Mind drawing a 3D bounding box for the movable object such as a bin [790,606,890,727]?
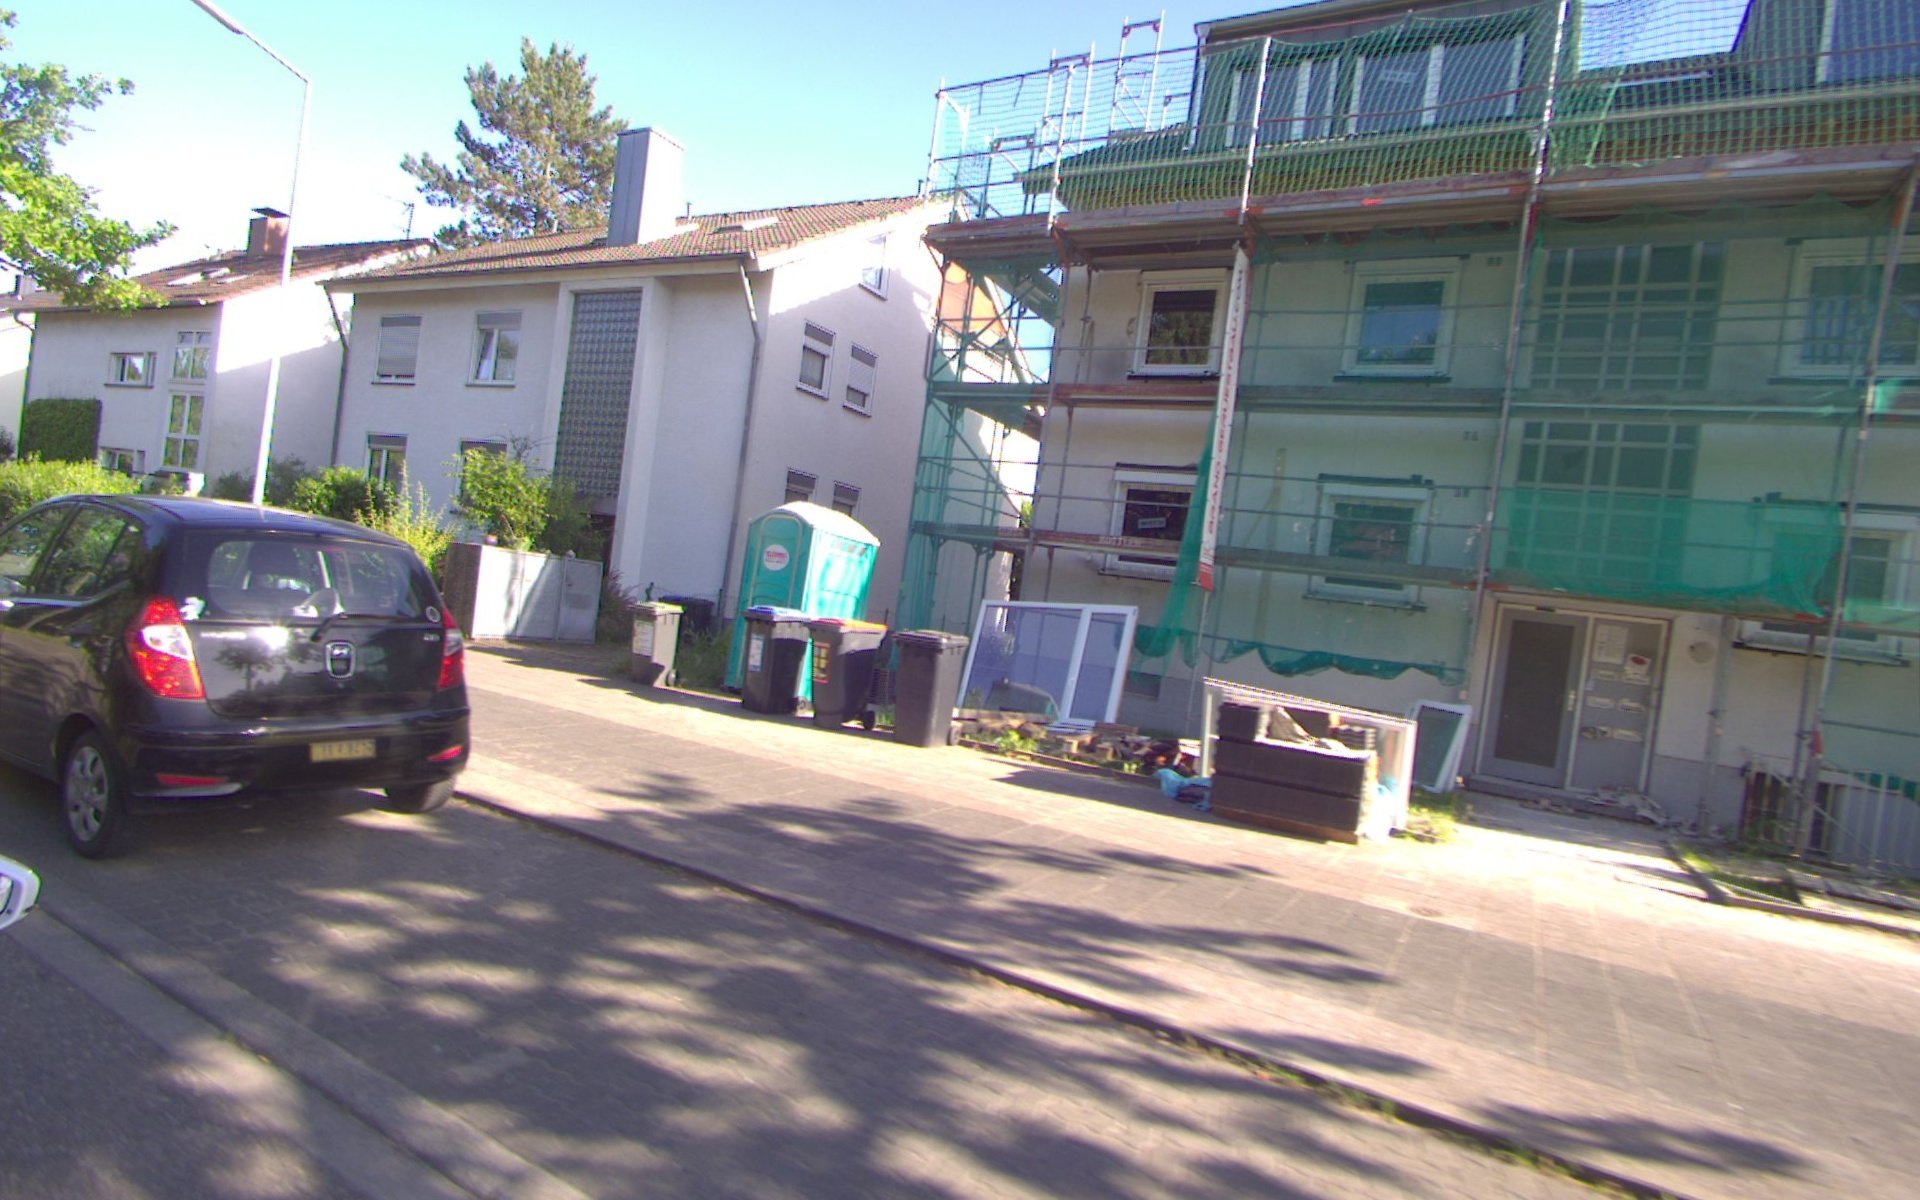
[{"bbox_3d":[-1.187,0.652,9.964,0.635,1.082,0.604,7,1,30],"label":"movable object such as a bin"}]

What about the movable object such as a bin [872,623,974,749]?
[{"bbox_3d":[-0.351,0.809,9.570,0.635,1.082,0.604,7,1,30],"label":"movable object such as a bin"}]

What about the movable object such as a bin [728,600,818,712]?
[{"bbox_3d":[-1.957,0.588,10.529,0.557,1.082,0.604,7,1,30],"label":"movable object such as a bin"}]

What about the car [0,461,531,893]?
[{"bbox_3d":[-4.305,0.164,5.476,3.688,1.599,1.673,7,2,30],"label":"car"}]

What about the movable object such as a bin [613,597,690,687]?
[{"bbox_3d":[-3.526,0.480,11.506,0.540,0.944,0.530,7,1,30],"label":"movable object such as a bin"}]
